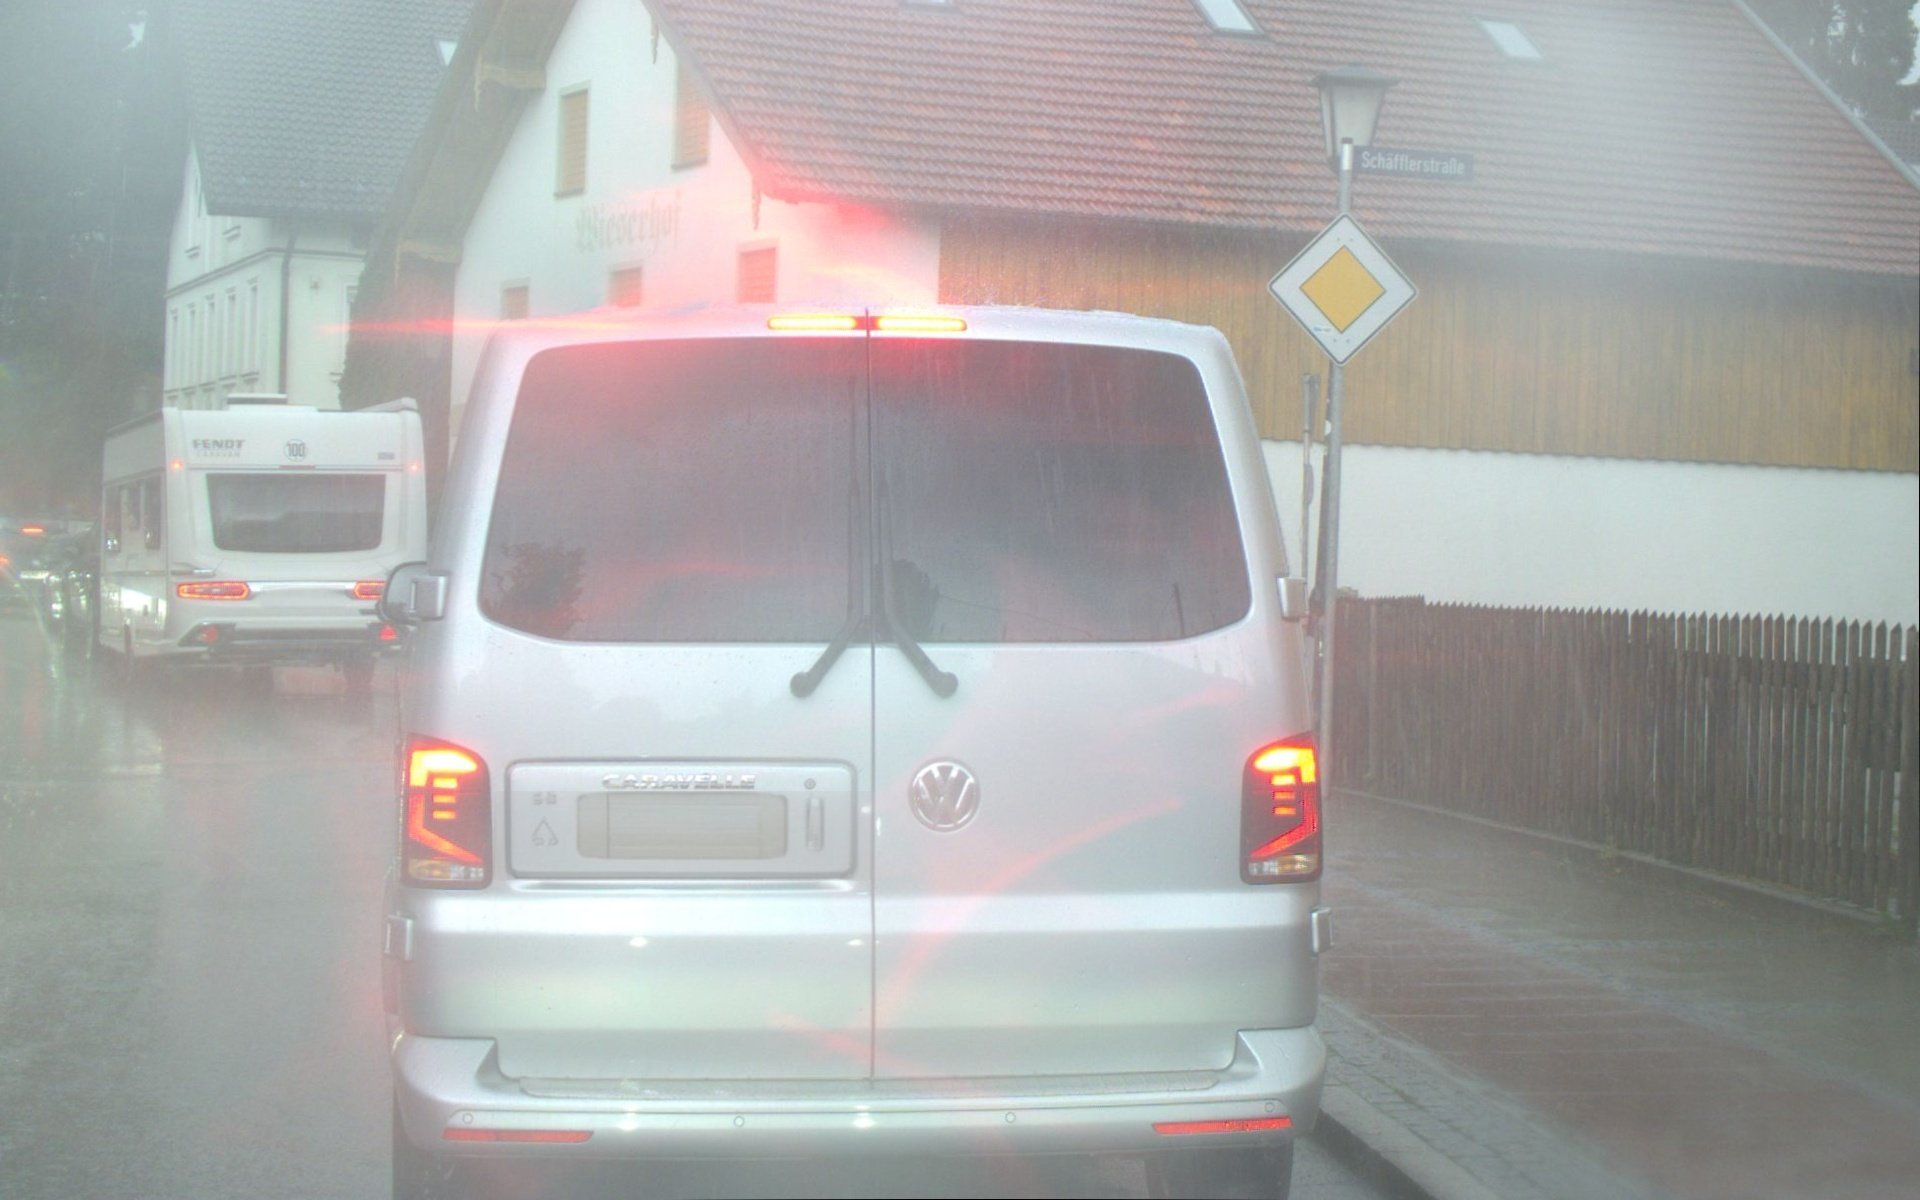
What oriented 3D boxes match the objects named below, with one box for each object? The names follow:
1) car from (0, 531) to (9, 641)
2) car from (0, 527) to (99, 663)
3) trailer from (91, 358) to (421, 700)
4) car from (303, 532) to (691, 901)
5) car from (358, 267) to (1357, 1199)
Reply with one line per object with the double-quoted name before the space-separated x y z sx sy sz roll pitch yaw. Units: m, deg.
"car" -18.517 -0.358 61.743 2.168 1.892 5.016 2 1 -22
"car" -14.792 -0.143 53.108 2.168 1.892 5.016 2 1 -22
"trailer" -6.741 -0.646 32.333 2.270 2.894 6.134 0 1 -19
"car" -2.348 0.474 17.837 1.708 1.578 4.687 -1 2 -7
"car" -0.212 0.353 8.682 1.776 1.956 5.074 0 1 -1
